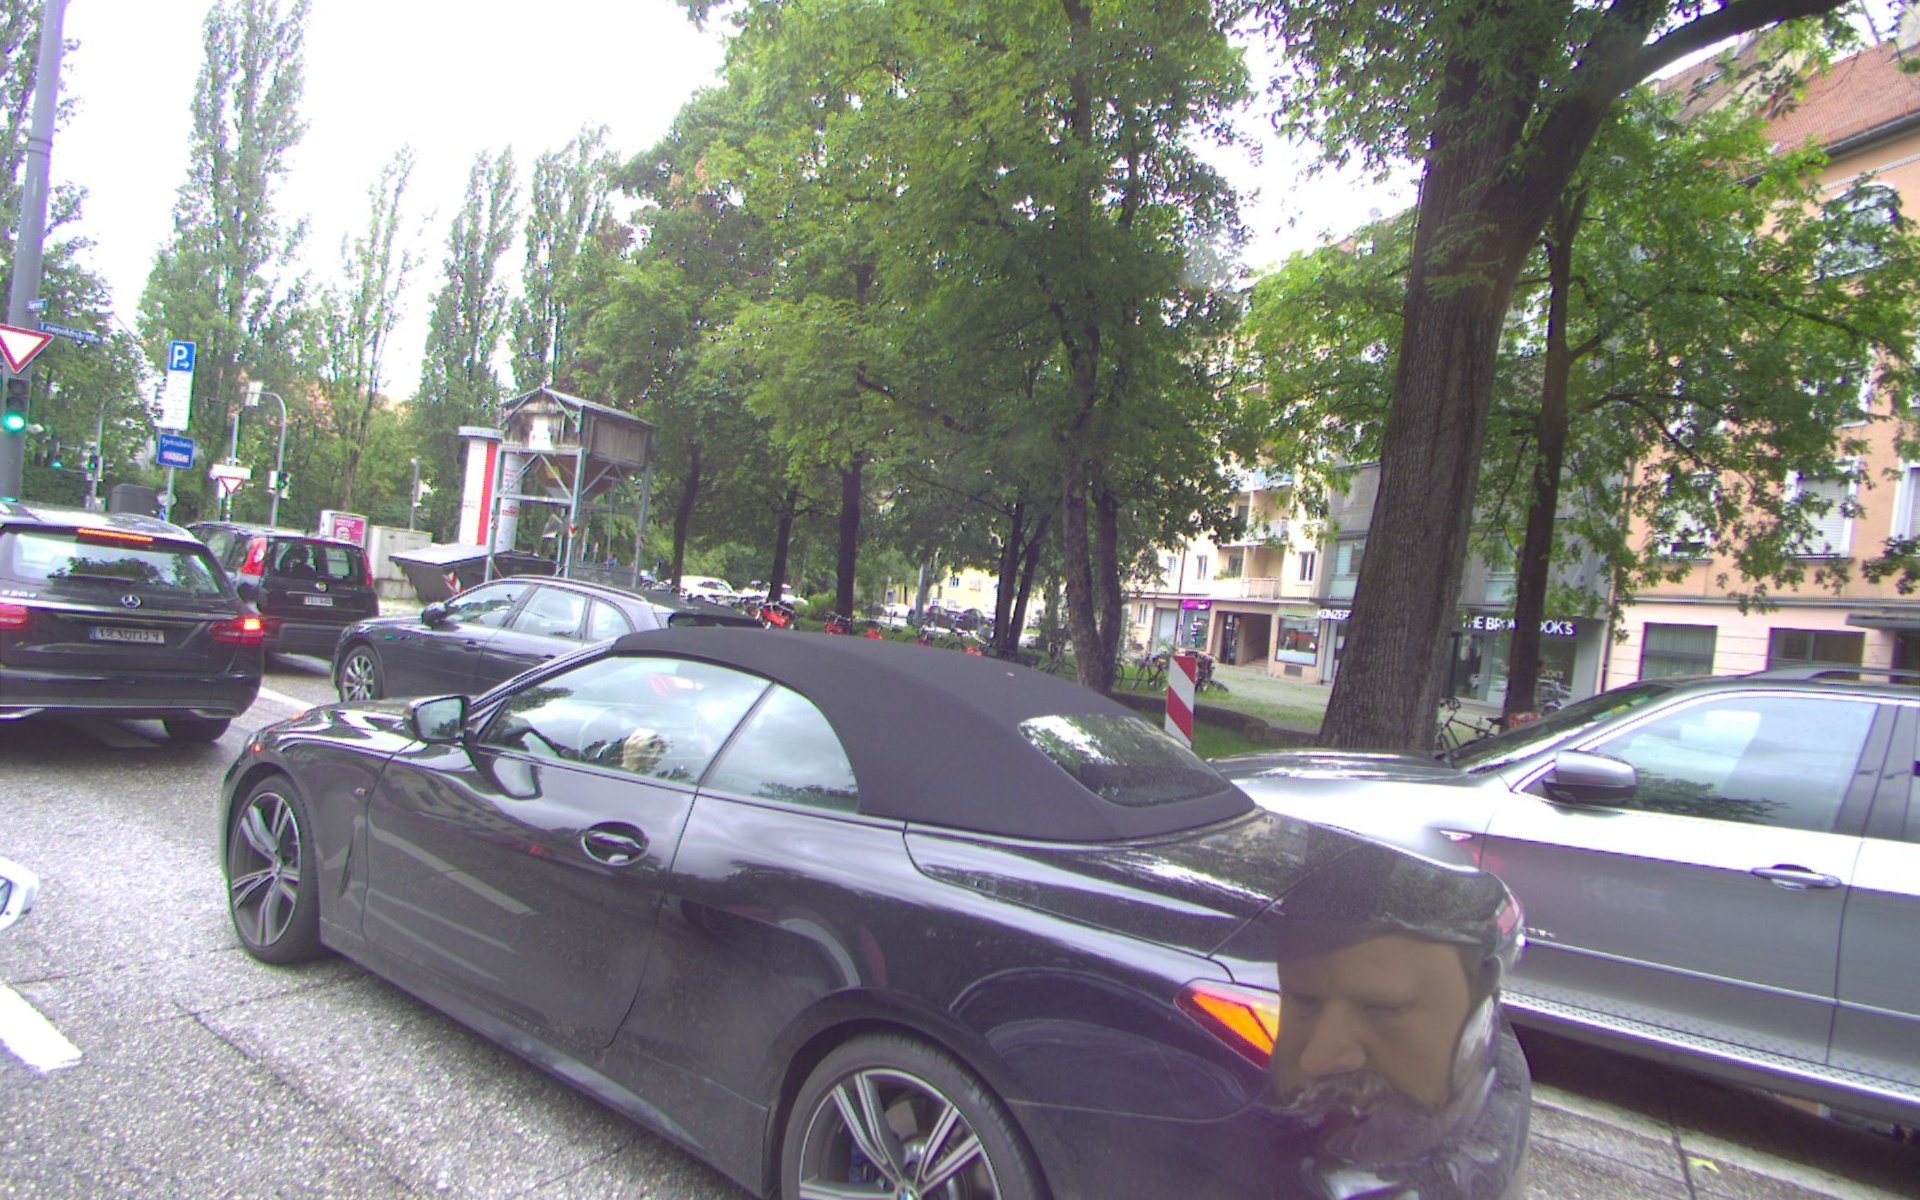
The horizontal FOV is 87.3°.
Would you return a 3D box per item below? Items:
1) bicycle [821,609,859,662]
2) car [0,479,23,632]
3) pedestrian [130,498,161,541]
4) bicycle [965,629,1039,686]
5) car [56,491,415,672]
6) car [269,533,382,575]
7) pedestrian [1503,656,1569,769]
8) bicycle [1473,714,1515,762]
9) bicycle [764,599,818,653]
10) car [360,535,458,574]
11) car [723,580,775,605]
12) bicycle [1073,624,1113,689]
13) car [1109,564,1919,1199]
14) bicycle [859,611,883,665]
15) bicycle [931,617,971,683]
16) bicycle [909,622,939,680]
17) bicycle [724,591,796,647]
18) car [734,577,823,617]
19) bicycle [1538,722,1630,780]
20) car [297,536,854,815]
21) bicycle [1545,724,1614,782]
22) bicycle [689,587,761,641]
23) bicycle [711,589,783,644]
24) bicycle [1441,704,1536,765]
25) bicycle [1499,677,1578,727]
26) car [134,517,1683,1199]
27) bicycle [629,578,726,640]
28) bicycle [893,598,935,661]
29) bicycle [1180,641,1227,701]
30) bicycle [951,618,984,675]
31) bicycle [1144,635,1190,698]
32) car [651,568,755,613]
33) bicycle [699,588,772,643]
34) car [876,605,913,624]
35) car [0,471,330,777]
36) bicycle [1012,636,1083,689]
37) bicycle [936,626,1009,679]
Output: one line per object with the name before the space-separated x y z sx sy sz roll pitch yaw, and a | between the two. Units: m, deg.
bicycle | -2.195 0.641 18.546 0.307 0.905 1.413 7 0 6
car | -11.524 -0.678 10.375 3.935 1.504 1.782 6 0 33
pedestrian | -34.854 -3.448 43.065 0.692 1.682 0.550 7 -1 -18
bicycle | 0.782 1.081 19.113 1.391 0.904 0.312 6 -1 38
car | -8.627 -0.259 11.865 4.480 1.568 1.832 7 0 33
car | -31.328 -2.238 49.773 1.756 1.504 4.345 7 0 30
pedestrian | 10.375 2.025 18.132 0.622 1.924 0.626 8 -1 -31
bicycle | 8.871 2.289 16.699 0.314 0.732 1.174 6 -2 40
bicycle | -3.160 0.507 18.923 0.307 0.904 1.414 7 -2 17
car | -29.595 -2.419 54.146 1.756 1.504 4.251 7 0 30
car | -16.723 -0.566 80.031 1.755 1.504 4.134 7 0 27
bicycle | 3.308 1.381 25.190 0.619 1.374 2.467 7 2 2
car | 3.171 1.062 4.260 4.475 1.842 1.935 7 0 27
bicycle | -1.630 0.682 18.309 0.308 0.904 1.412 7 -2 -5
bicycle | -0.185 1.145 23.214 0.619 1.372 2.471 7 -2 3
bicycle | -0.618 0.847 17.002 0.308 0.904 1.412 7 -2 -5
bicycle | -3.794 0.369 19.156 0.308 0.904 1.408 6 -2 38
car | -8.445 -0.098 47.236 1.700 1.424 4.370 7 0 27
bicycle | 9.997 2.415 16.150 0.316 0.732 1.167 8 -2 -36
car | -3.323 0.481 8.420 4.563 1.479 1.770 7 0 30
bicycle | 8.956 2.214 14.536 1.167 0.732 0.316 9 -2 -33
bicycle | -4.617 0.287 19.812 0.308 0.904 1.408 6 -2 38
bicycle | -4.095 0.326 19.395 0.308 0.904 1.408 6 -2 38
bicycle | 7.918 2.006 15.103 1.163 0.732 0.317 6 -2 43
bicycle | 18.274 3.216 31.839 0.500 1.304 2.238 7 -2 -22
car | -0.661 0.689 3.341 4.719 1.406 1.726 7 0 32
bicycle | -5.739 0.210 20.602 0.619 1.028 2.241 7 -2 21
bicycle | -1.084 0.673 24.338 0.619 1.374 2.468 7 1 3
bicycle | 6.736 1.941 27.958 0.619 1.374 2.467 7 2 2
bicycle | 0.116 0.774 17.086 0.308 0.904 1.412 7 -2 -5
bicycle | 5.355 1.687 26.145 0.619 1.374 2.467 7 2 2
car | -10.736 -0.353 42.360 1.700 1.424 4.370 7 0 27
bicycle | -4.360 0.312 19.604 0.308 0.904 1.408 6 -2 38
car | -6.564 1.444 101.072 1.755 1.504 4.134 7 0 27
car | -6.561 -0.046 6.874 4.626 1.567 1.867 7 -2 32
bicycle | 1.757 1.257 20.310 1.391 0.904 0.312 6 -1 38
bicycle | 0.260 1.060 20.297 1.395 0.904 0.311 8 -1 -25
